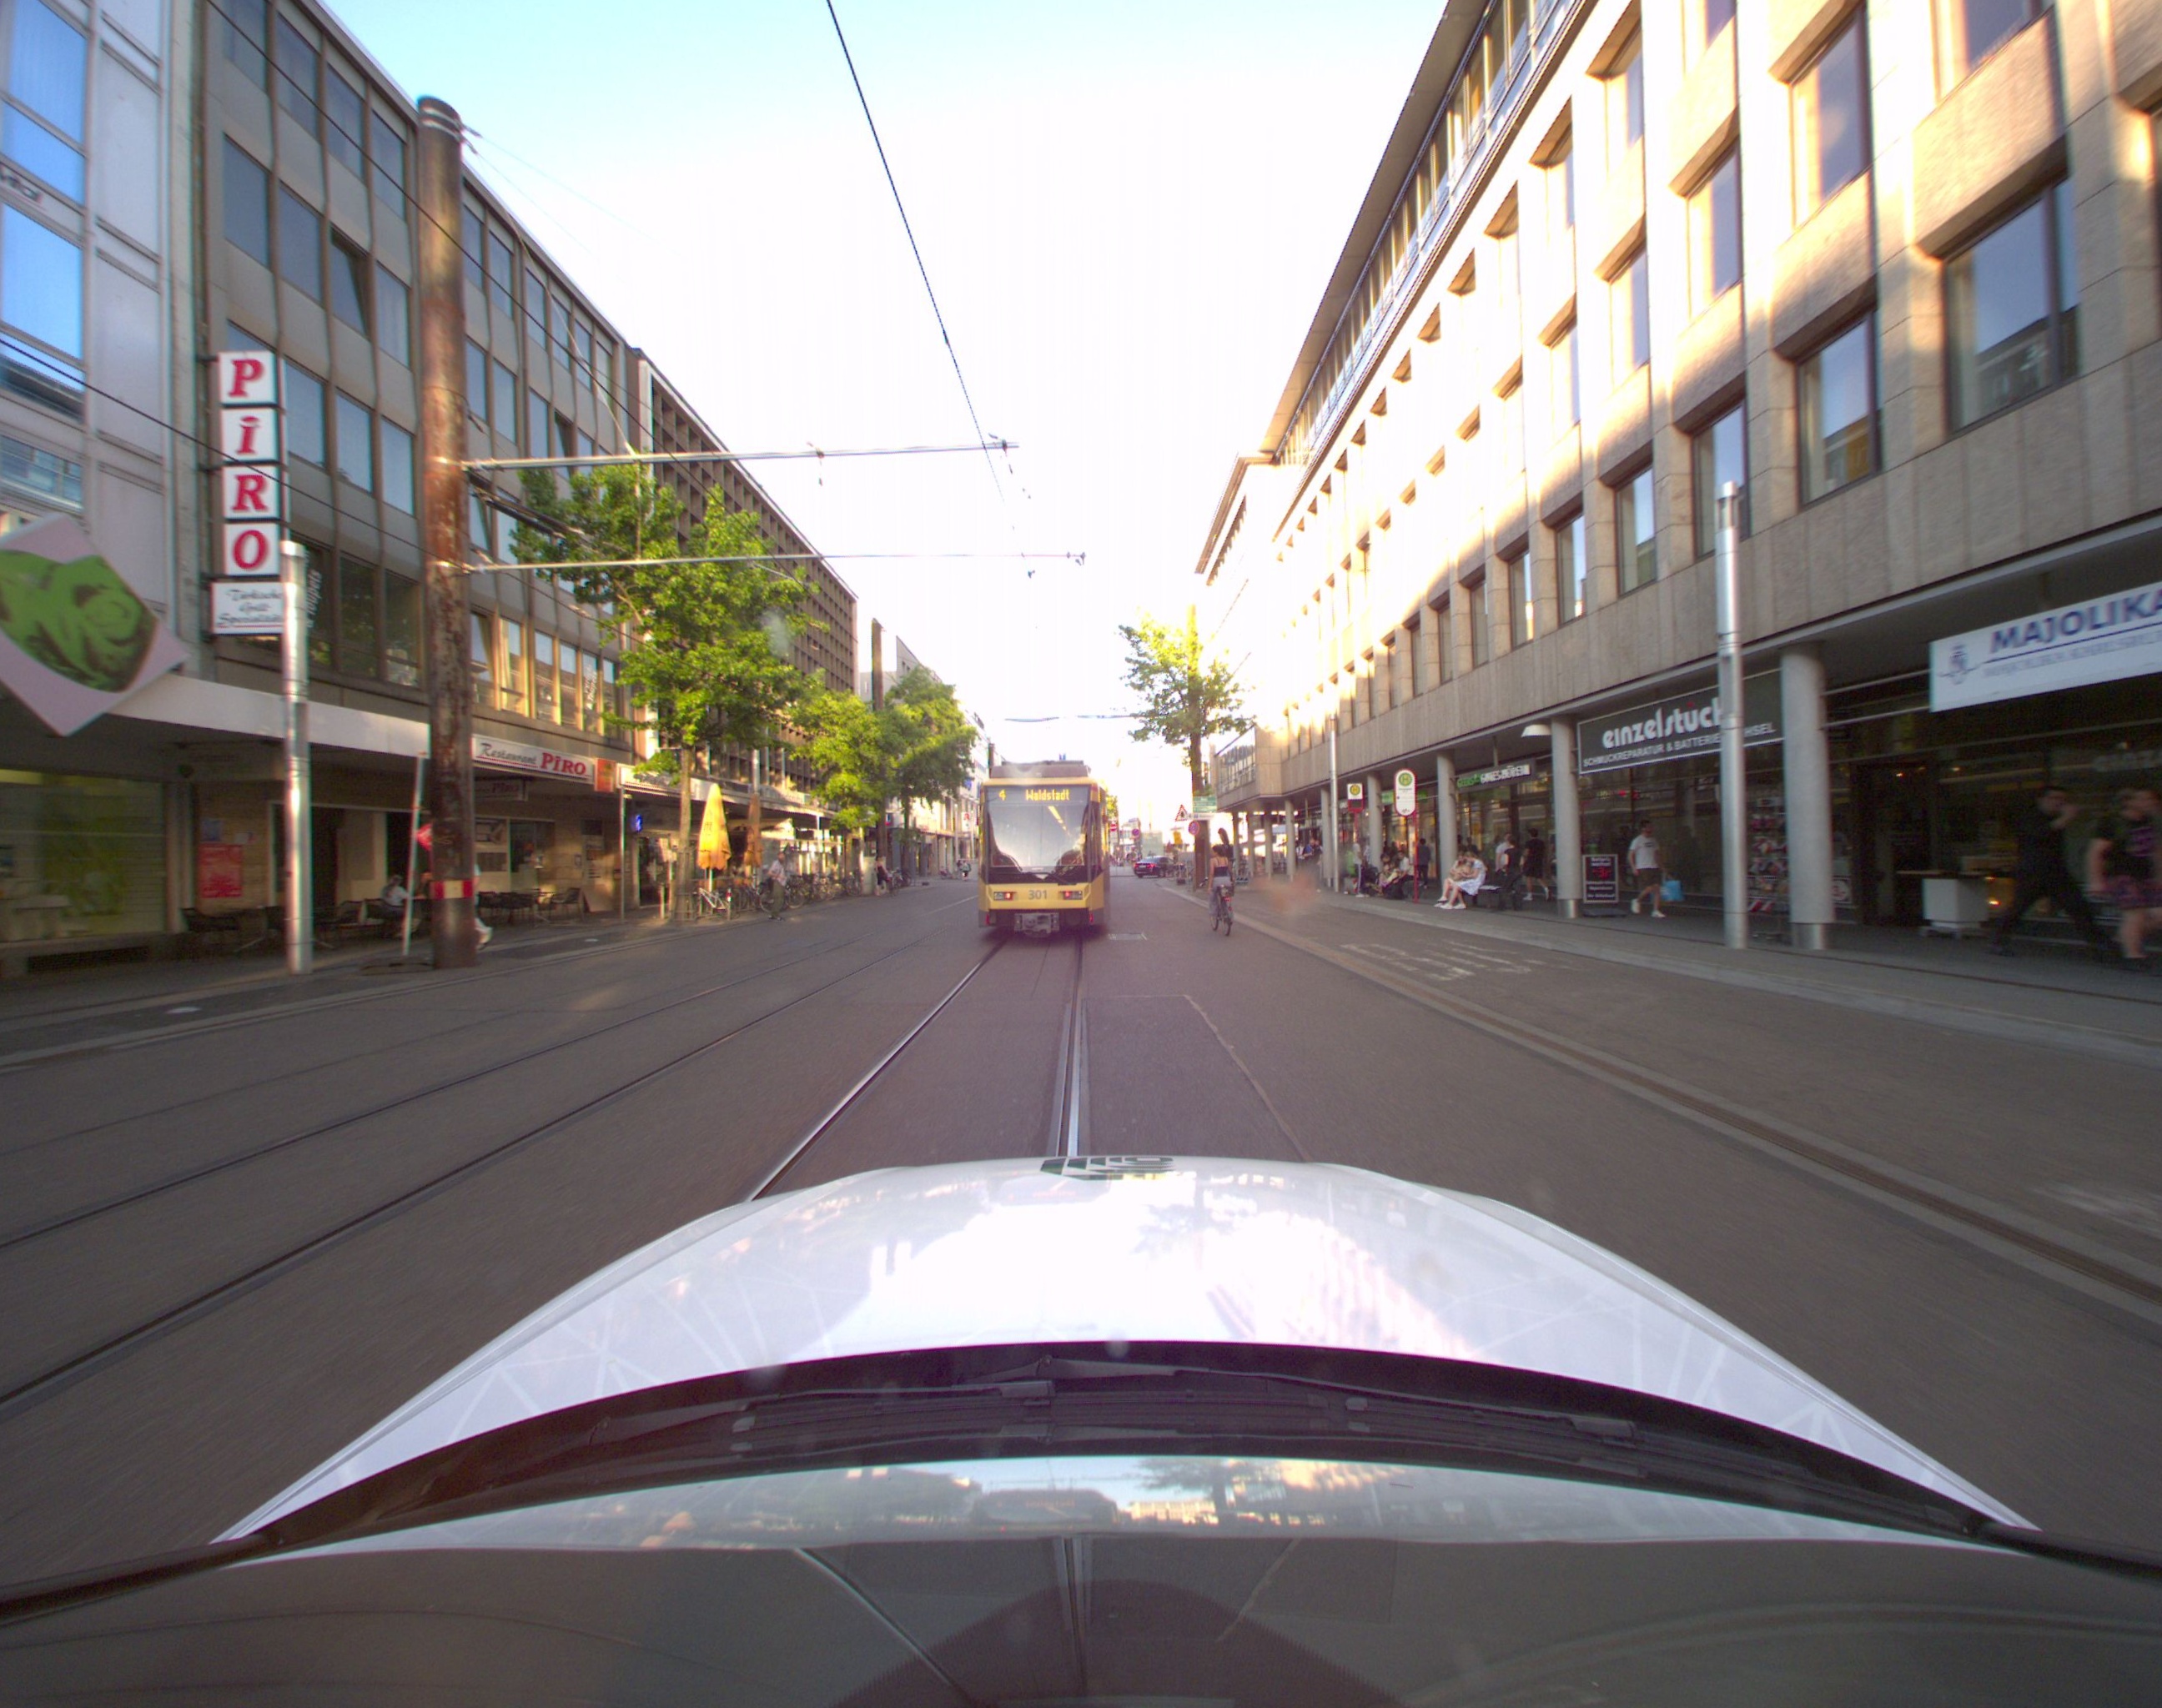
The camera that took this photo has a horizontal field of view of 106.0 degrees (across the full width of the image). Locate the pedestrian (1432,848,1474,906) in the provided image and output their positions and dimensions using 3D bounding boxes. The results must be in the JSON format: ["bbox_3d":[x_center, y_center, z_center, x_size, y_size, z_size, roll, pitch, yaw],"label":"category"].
[{"bbox_3d":[8.595,0.521,18.838,0.715,1.314,0.532,-1,-1,2],"label":"pedestrian"}]

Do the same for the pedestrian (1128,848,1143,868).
[{"bbox_3d":[4.976,0.370,73.954,1.017,1.863,1.035,-1,-1,-20],"label":"pedestrian"}]

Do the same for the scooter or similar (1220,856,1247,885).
[{"bbox_3d":[6.976,0.730,37.199,1.195,1.251,0.389,-3,0,-29],"label":"scooter or similar"}]

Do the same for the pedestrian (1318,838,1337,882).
[{"bbox_3d":[10.391,0.267,34.326,0.537,1.806,0.604,-3,-1,-1],"label":"pedestrian"}]

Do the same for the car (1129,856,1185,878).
[{"bbox_3d":[5.149,0.845,54.759,1.752,1.409,4.078,-2,-2,39],"label":"car"}]

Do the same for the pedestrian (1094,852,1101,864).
[{"bbox_3d":[2.318,0.554,115.533,0.761,1.661,0.797,-2,0,12],"label":"pedestrian"}]

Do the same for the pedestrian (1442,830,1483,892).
[{"bbox_3d":[11.431,0.212,24.406,0.770,1.772,0.773,-2,-1,-1],"label":"pedestrian"}]

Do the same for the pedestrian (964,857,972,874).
[{"bbox_3d":[-11.641,1.157,84.198,0.711,1.725,0.709,-2,-1,-1],"label":"pedestrian"}]

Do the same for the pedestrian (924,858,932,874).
[{"bbox_3d":[-16.278,1.256,86.823,0.711,1.725,0.709,-2,-1,-1],"label":"pedestrian"}]

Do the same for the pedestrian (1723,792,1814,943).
[{"bbox_3d":[9.231,0.179,10.956,0.576,1.944,0.655,-3,-1,0],"label":"pedestrian"}]

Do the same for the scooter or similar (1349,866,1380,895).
[{"bbox_3d":[8.669,0.801,24.910,0.827,0.884,0.689,0,-1,14],"label":"scooter or similar"}]

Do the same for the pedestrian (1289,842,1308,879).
[{"bbox_3d":[10.587,0.315,39.627,0.660,1.787,0.719,-3,-1,1],"label":"pedestrian"}]

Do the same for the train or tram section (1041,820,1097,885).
[{"bbox_3d":[-0.597,-0.056,49.785,2.791,3.319,14.506,-2,0,0],"label":"train or tram section"}]

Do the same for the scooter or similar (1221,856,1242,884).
[{"bbox_3d":[6.978,0.725,37.842,0.388,1.251,1.199,-3,0,38],"label":"scooter or similar"}]

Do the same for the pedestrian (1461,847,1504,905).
[{"bbox_3d":[9.334,0.510,18.950,0.715,1.314,0.532,-1,-1,2],"label":"pedestrian"}]

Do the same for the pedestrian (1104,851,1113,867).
[{"bbox_3d":[3.221,0.588,95.695,0.734,1.823,0.816,-1,0,-14],"label":"pedestrian"}]

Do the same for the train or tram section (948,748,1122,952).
[{"bbox_3d":[-0.727,-0.069,20.786,2.791,3.319,14.506,-2,0,0],"label":"train or tram section"}]

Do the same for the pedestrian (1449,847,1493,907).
[{"bbox_3d":[8.756,0.513,18.300,0.715,1.314,0.524,-1,-1,2],"label":"pedestrian"}]

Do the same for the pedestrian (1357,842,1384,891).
[{"bbox_3d":[10.105,0.446,28.406,0.646,1.661,0.650,-3,0,1],"label":"pedestrian"}]

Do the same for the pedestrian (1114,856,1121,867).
[{"bbox_3d":[4.494,0.923,99.612,0.790,1.221,0.768,-1,0,-3],"label":"pedestrian"}]

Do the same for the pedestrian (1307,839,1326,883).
[{"bbox_3d":[9.868,0.275,34.156,0.537,1.806,0.604,-3,-1,-1],"label":"pedestrian"}]

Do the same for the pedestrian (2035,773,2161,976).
[{"bbox_3d":[10.263,0.181,8.016,0.704,1.889,0.796,-3,-1,1],"label":"pedestrian"}]

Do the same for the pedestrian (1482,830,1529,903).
[{"bbox_3d":[10.108,0.295,19.430,0.685,1.661,0.722,-3,-1,2],"label":"pedestrian"}]

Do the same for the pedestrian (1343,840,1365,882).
[{"bbox_3d":[11.927,0.291,35.574,0.660,1.787,0.719,-3,-1,1],"label":"pedestrian"}]

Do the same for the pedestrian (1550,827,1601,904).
[{"bbox_3d":[10.954,0.253,18.058,0.645,1.661,0.681,-3,0,2],"label":"pedestrian"}]

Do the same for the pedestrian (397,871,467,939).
[{"bbox_3d":[-13.206,1.022,16.594,0.668,1.325,0.912,1,-1,-1],"label":"pedestrian"}]

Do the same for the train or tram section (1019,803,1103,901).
[{"bbox_3d":[-0.659,-0.065,35.303,2.791,3.319,14.506,-2,0,0],"label":"train or tram section"}]

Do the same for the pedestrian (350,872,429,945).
[{"bbox_3d":[-13.056,1.013,15.401,0.668,1.325,0.912,1,-1,-1],"label":"pedestrian"}]

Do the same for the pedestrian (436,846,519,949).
[{"bbox_3d":[-10.907,0.769,14.748,0.680,1.793,0.992,1,-1,6],"label":"pedestrian"}]

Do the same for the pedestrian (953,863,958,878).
[{"bbox_3d":[-13.234,1.732,85.807,0.508,1.547,0.516,-2,-1,-8],"label":"pedestrian"}]

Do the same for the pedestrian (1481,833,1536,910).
[{"bbox_3d":[9.073,0.375,17.305,0.721,1.570,0.736,-3,-1,2],"label":"pedestrian"}]

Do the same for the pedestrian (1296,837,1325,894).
[{"bbox_3d":[7.595,0.386,26.937,0.666,1.839,0.708,-3,-1,0],"label":"pedestrian"}]

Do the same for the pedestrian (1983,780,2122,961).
[{"bbox_3d":[10.655,0.172,8.960,0.614,1.889,0.684,-3,-1,2],"label":"pedestrian"}]

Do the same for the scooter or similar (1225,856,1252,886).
[{"bbox_3d":[7.066,0.756,36.507,1.119,1.251,0.492,-3,0,-30],"label":"scooter or similar"}]

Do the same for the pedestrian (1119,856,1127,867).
[{"bbox_3d":[5.087,0.906,98.809,0.790,1.221,0.768,-1,0,-3],"label":"pedestrian"}]

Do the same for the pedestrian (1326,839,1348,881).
[{"bbox_3d":[11.175,0.262,35.596,0.660,1.787,0.719,-3,-1,1],"label":"pedestrian"}]

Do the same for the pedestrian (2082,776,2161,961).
[{"bbox_3d":[11.417,0.135,8.459,0.841,1.889,0.899,-3,-1,1],"label":"pedestrian"}]

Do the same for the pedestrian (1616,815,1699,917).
[{"bbox_3d":[10.644,0.216,15.065,0.841,1.797,0.859,-3,-1,1],"label":"pedestrian"}]

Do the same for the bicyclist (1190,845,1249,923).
[{"bbox_3d":[2.731,0.576,16.122,0.994,1.502,0.856,0,0,-2],"label":"bicyclist"}]
